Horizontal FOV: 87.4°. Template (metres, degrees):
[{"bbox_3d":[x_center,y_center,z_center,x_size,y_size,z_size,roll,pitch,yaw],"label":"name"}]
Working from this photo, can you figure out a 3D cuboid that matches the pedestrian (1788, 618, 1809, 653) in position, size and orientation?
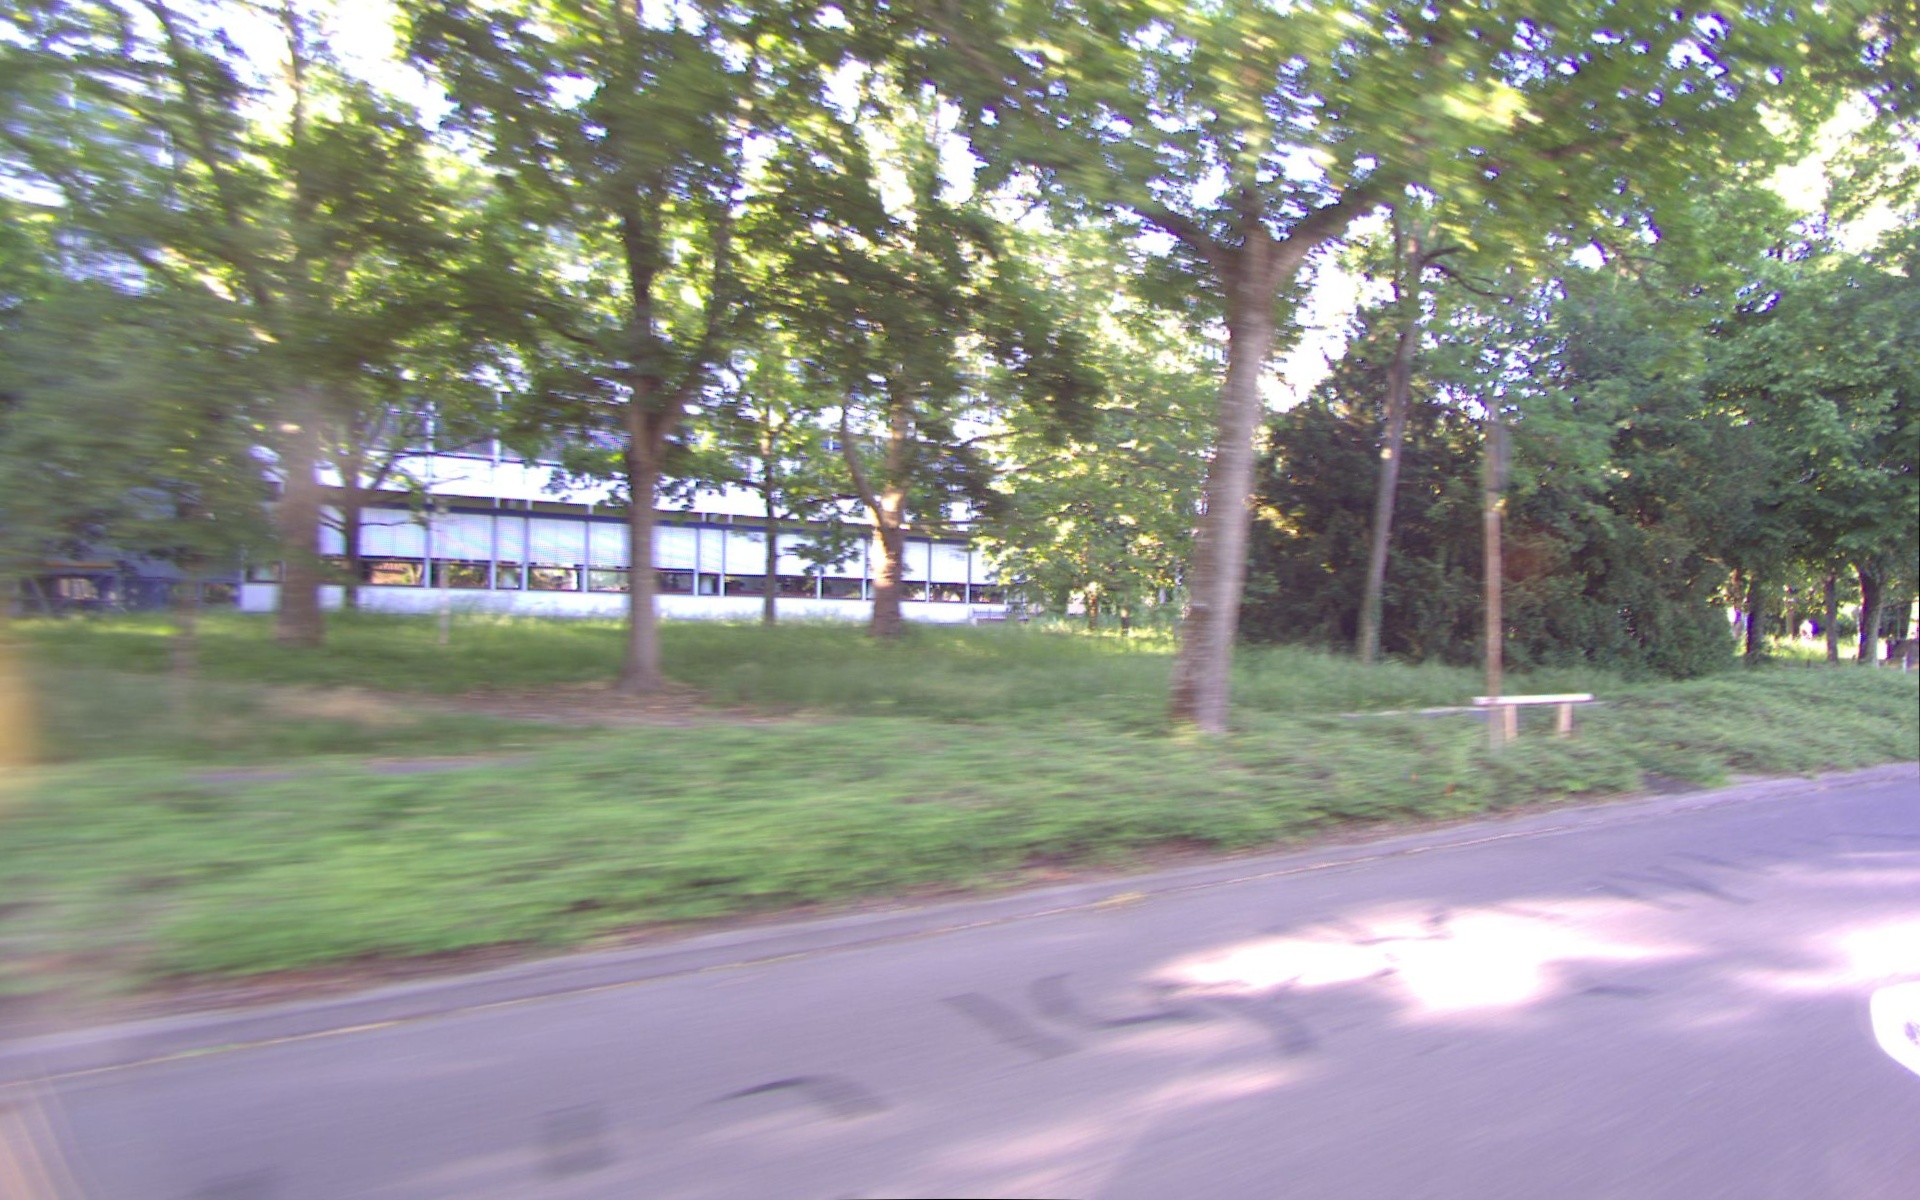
[{"bbox_3d":[49.664,2.090,59.495,0.584,2.040,0.751,2,0,-36],"label":"pedestrian"}]
